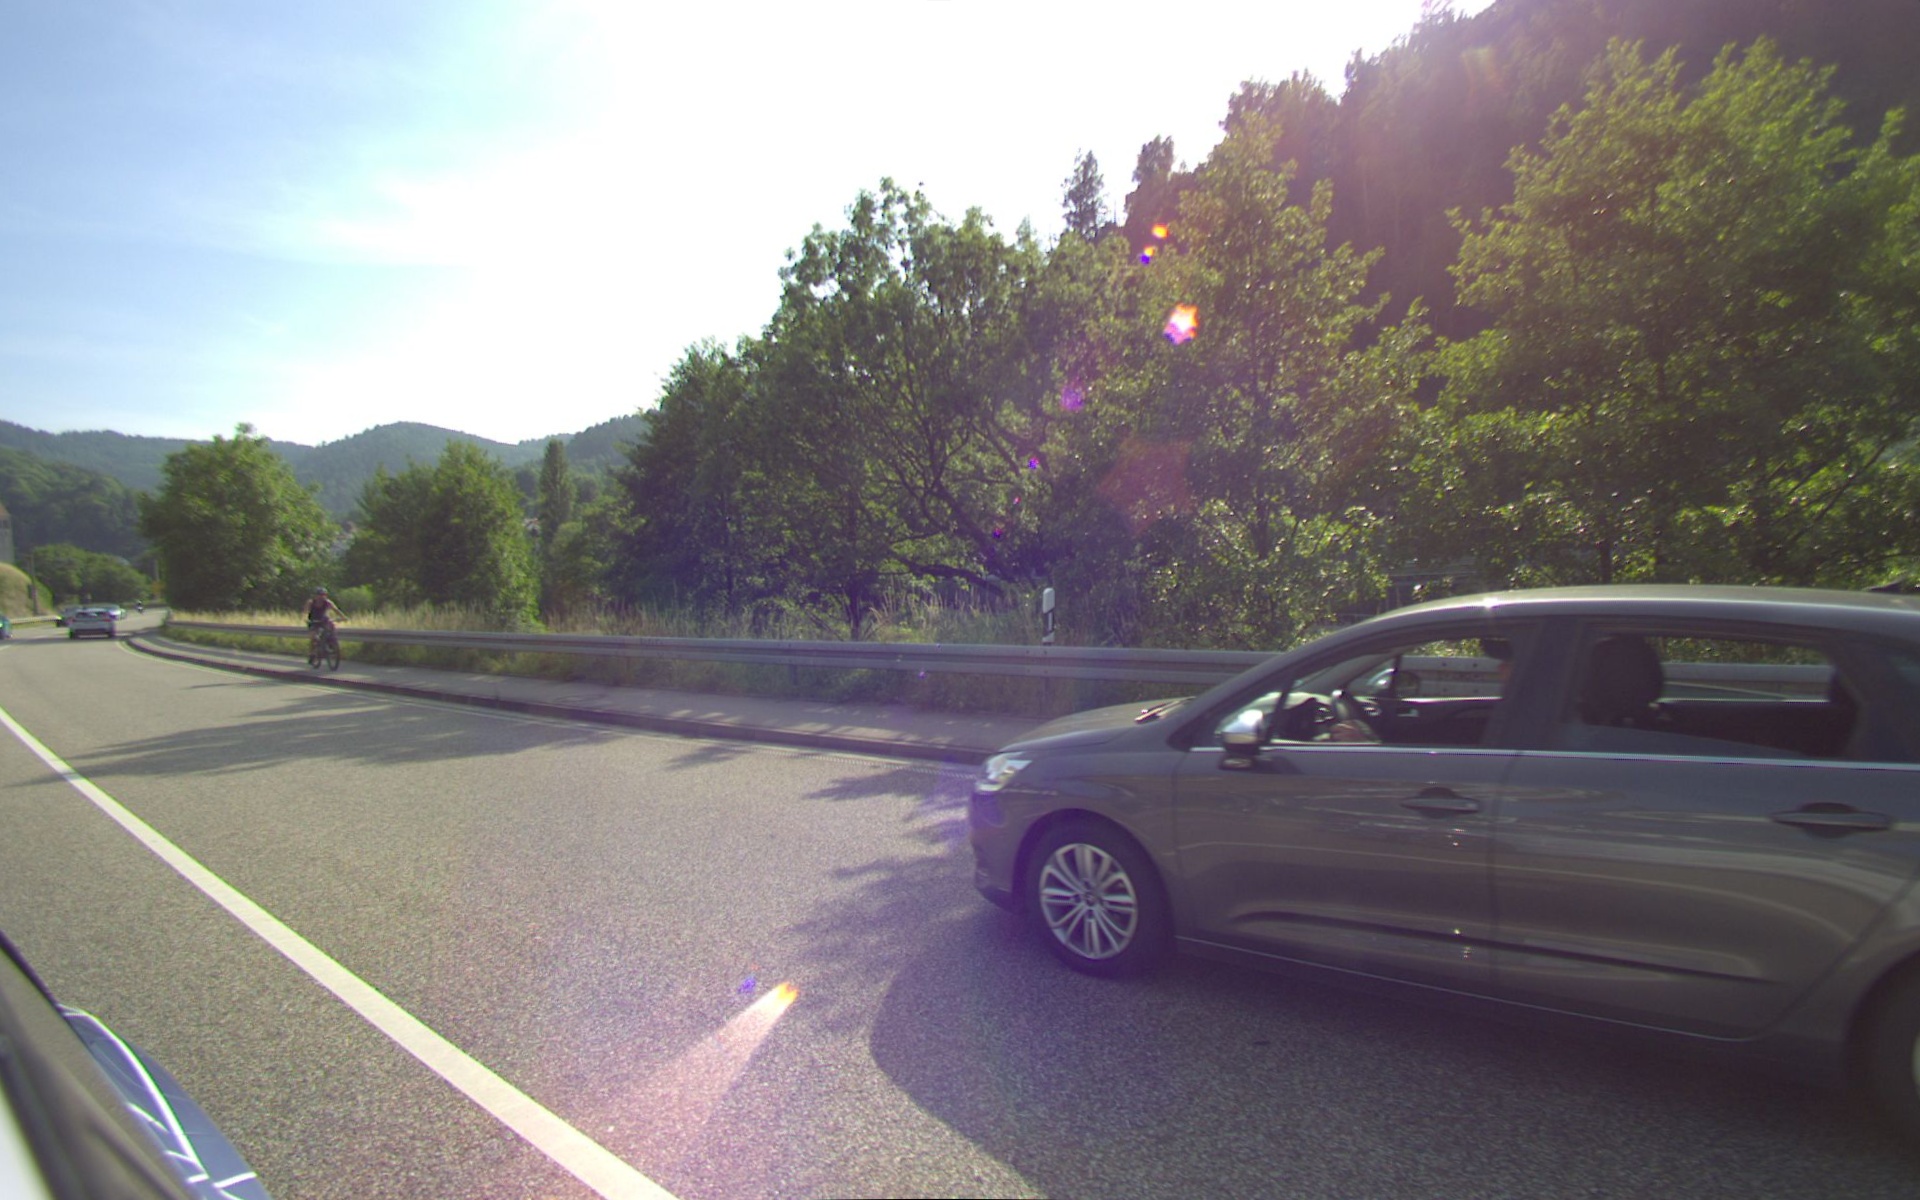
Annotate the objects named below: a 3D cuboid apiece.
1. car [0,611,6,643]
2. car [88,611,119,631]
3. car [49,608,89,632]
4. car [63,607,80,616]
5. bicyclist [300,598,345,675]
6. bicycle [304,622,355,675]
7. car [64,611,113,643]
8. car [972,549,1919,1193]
[{"bbox_3d":[-53.200,1.475,54.776,1.856,1.758,4.187,-1,0,-38],"label":"car"},{"bbox_3d":[-80.585,1.935,95.266,1.855,1.758,4.189,-2,0,-35],"label":"car"},{"bbox_3d":[-69.452,1.554,78.906,1.855,1.758,4.189,-2,0,-35],"label":"car"},{"bbox_3d":[-167.664,2.205,190.945,3.993,1.490,1.563,-2,-1,37],"label":"car"},{"bbox_3d":[-13.957,0.781,22.154,0.550,1.598,1.037,-7,3,-40],"label":"bicyclist"},{"bbox_3d":[-13.785,1.032,22.101,0.550,1.053,2.233,-7,3,-40],"label":"bicycle"},{"bbox_3d":[-47.283,1.415,54.917,1.969,1.641,4.006,0,0,-41],"label":"car"},{"bbox_3d":[2.186,0.640,3.605,3.995,1.500,1.872,-1,-1,39],"label":"car"}]
